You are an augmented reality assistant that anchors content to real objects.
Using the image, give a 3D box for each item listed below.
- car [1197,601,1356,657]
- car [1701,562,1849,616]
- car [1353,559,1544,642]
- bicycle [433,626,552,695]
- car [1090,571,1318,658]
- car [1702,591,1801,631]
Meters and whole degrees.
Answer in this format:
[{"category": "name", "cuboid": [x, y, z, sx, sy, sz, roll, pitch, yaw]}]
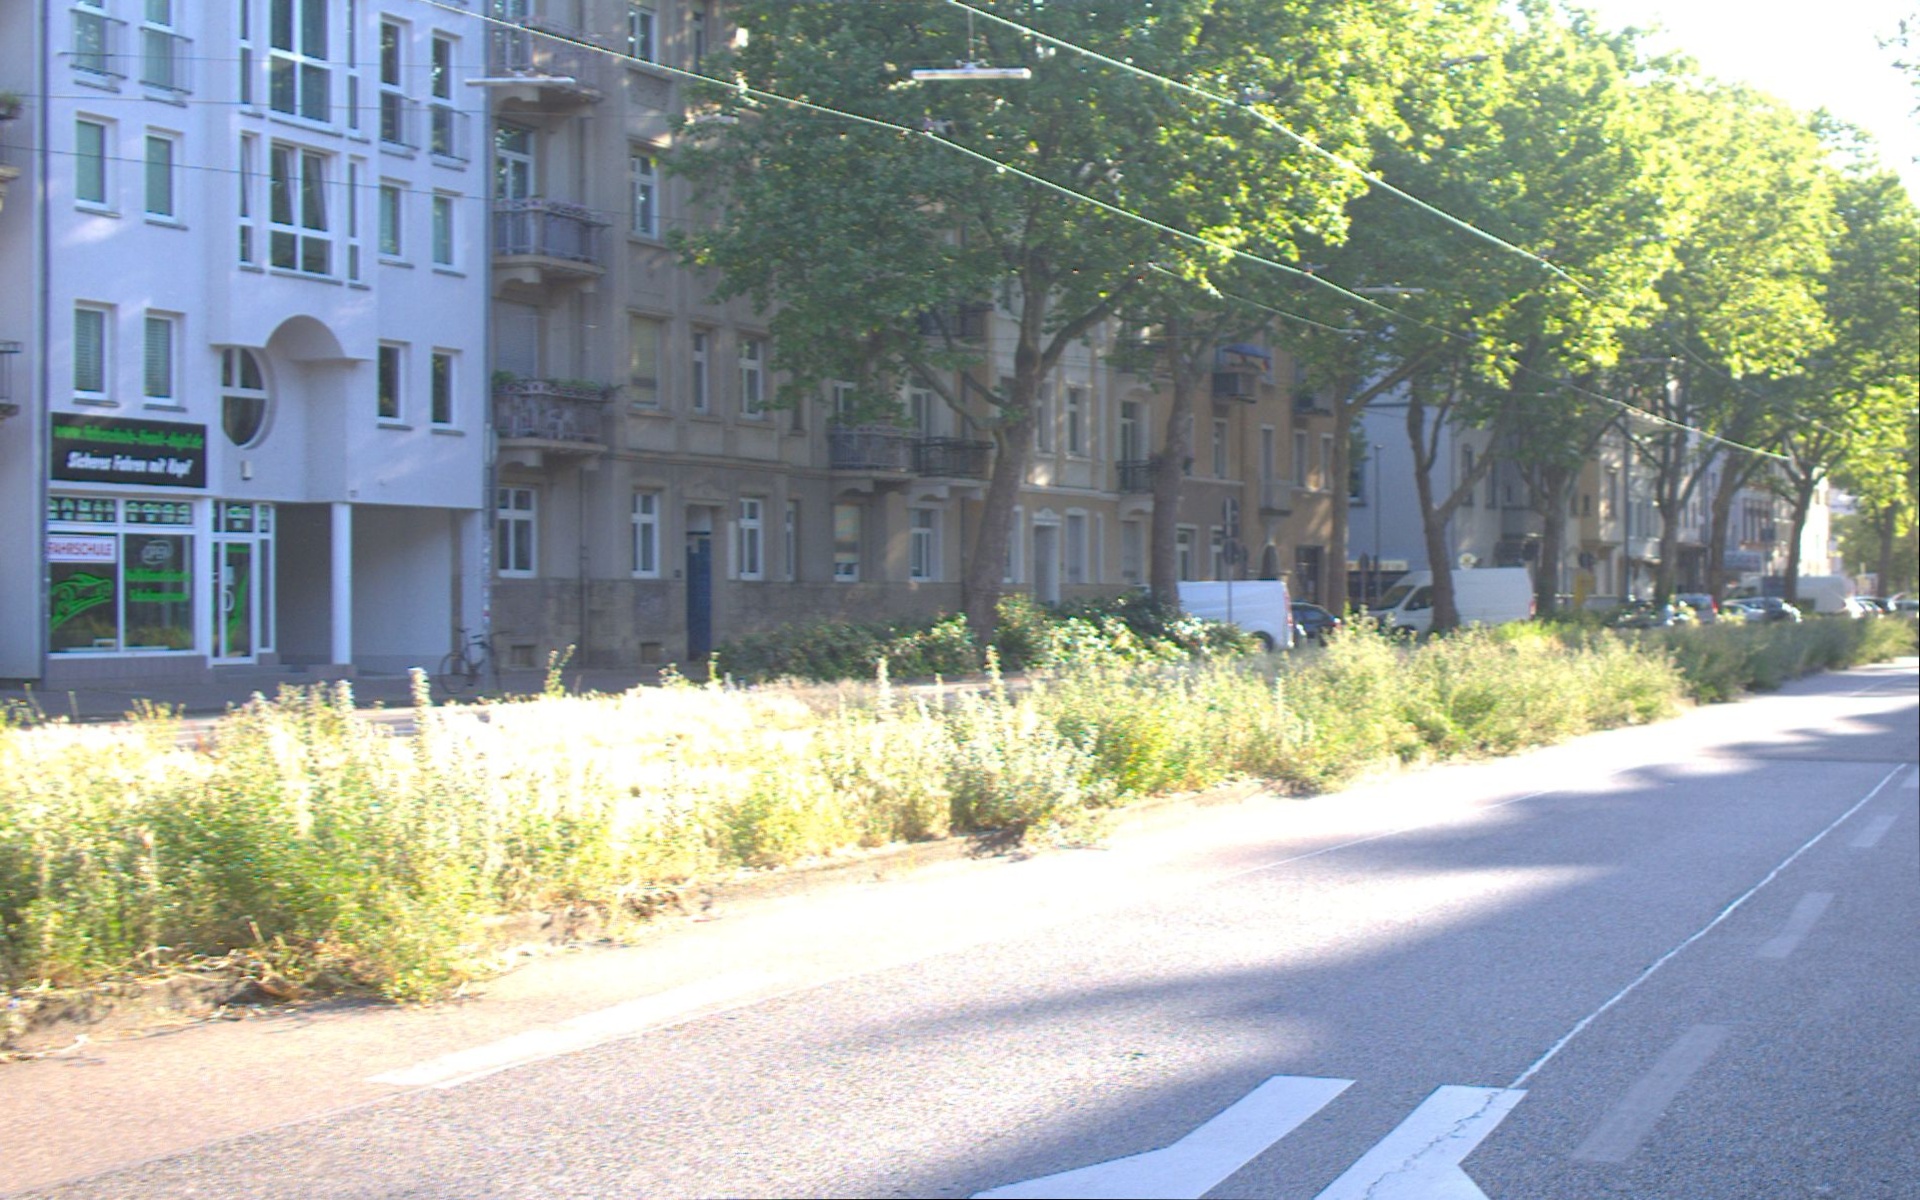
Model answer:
[{"category": "car", "cuboid": [8.191, 0.748, 88.907, 3.715, 1.417, 1.722, 0, 0, -20]}, {"category": "car", "cuboid": [41.113, -0.534, 173.472, 6.937, 2.669, 2.185, 0, -1, 1]}, {"category": "car", "cuboid": [15.103, 0.003, 106.253, 5.489, 2.520, 2.127, 0, 0, -20]}, {"category": "bicycle", "cuboid": [-7.615, 0.984, 56.096, 0.759, 1.029, 1.891, 7, 3, 35]}, {"category": "car", "cuboid": [5.882, 0.344, 82.850, 5.228, 2.059, 1.722, 0, 0, -20]}, {"category": "car", "cuboid": [36.501, 0.501, 158.591, 3.986, 1.693, 1.857, -2, 0, -9]}]
